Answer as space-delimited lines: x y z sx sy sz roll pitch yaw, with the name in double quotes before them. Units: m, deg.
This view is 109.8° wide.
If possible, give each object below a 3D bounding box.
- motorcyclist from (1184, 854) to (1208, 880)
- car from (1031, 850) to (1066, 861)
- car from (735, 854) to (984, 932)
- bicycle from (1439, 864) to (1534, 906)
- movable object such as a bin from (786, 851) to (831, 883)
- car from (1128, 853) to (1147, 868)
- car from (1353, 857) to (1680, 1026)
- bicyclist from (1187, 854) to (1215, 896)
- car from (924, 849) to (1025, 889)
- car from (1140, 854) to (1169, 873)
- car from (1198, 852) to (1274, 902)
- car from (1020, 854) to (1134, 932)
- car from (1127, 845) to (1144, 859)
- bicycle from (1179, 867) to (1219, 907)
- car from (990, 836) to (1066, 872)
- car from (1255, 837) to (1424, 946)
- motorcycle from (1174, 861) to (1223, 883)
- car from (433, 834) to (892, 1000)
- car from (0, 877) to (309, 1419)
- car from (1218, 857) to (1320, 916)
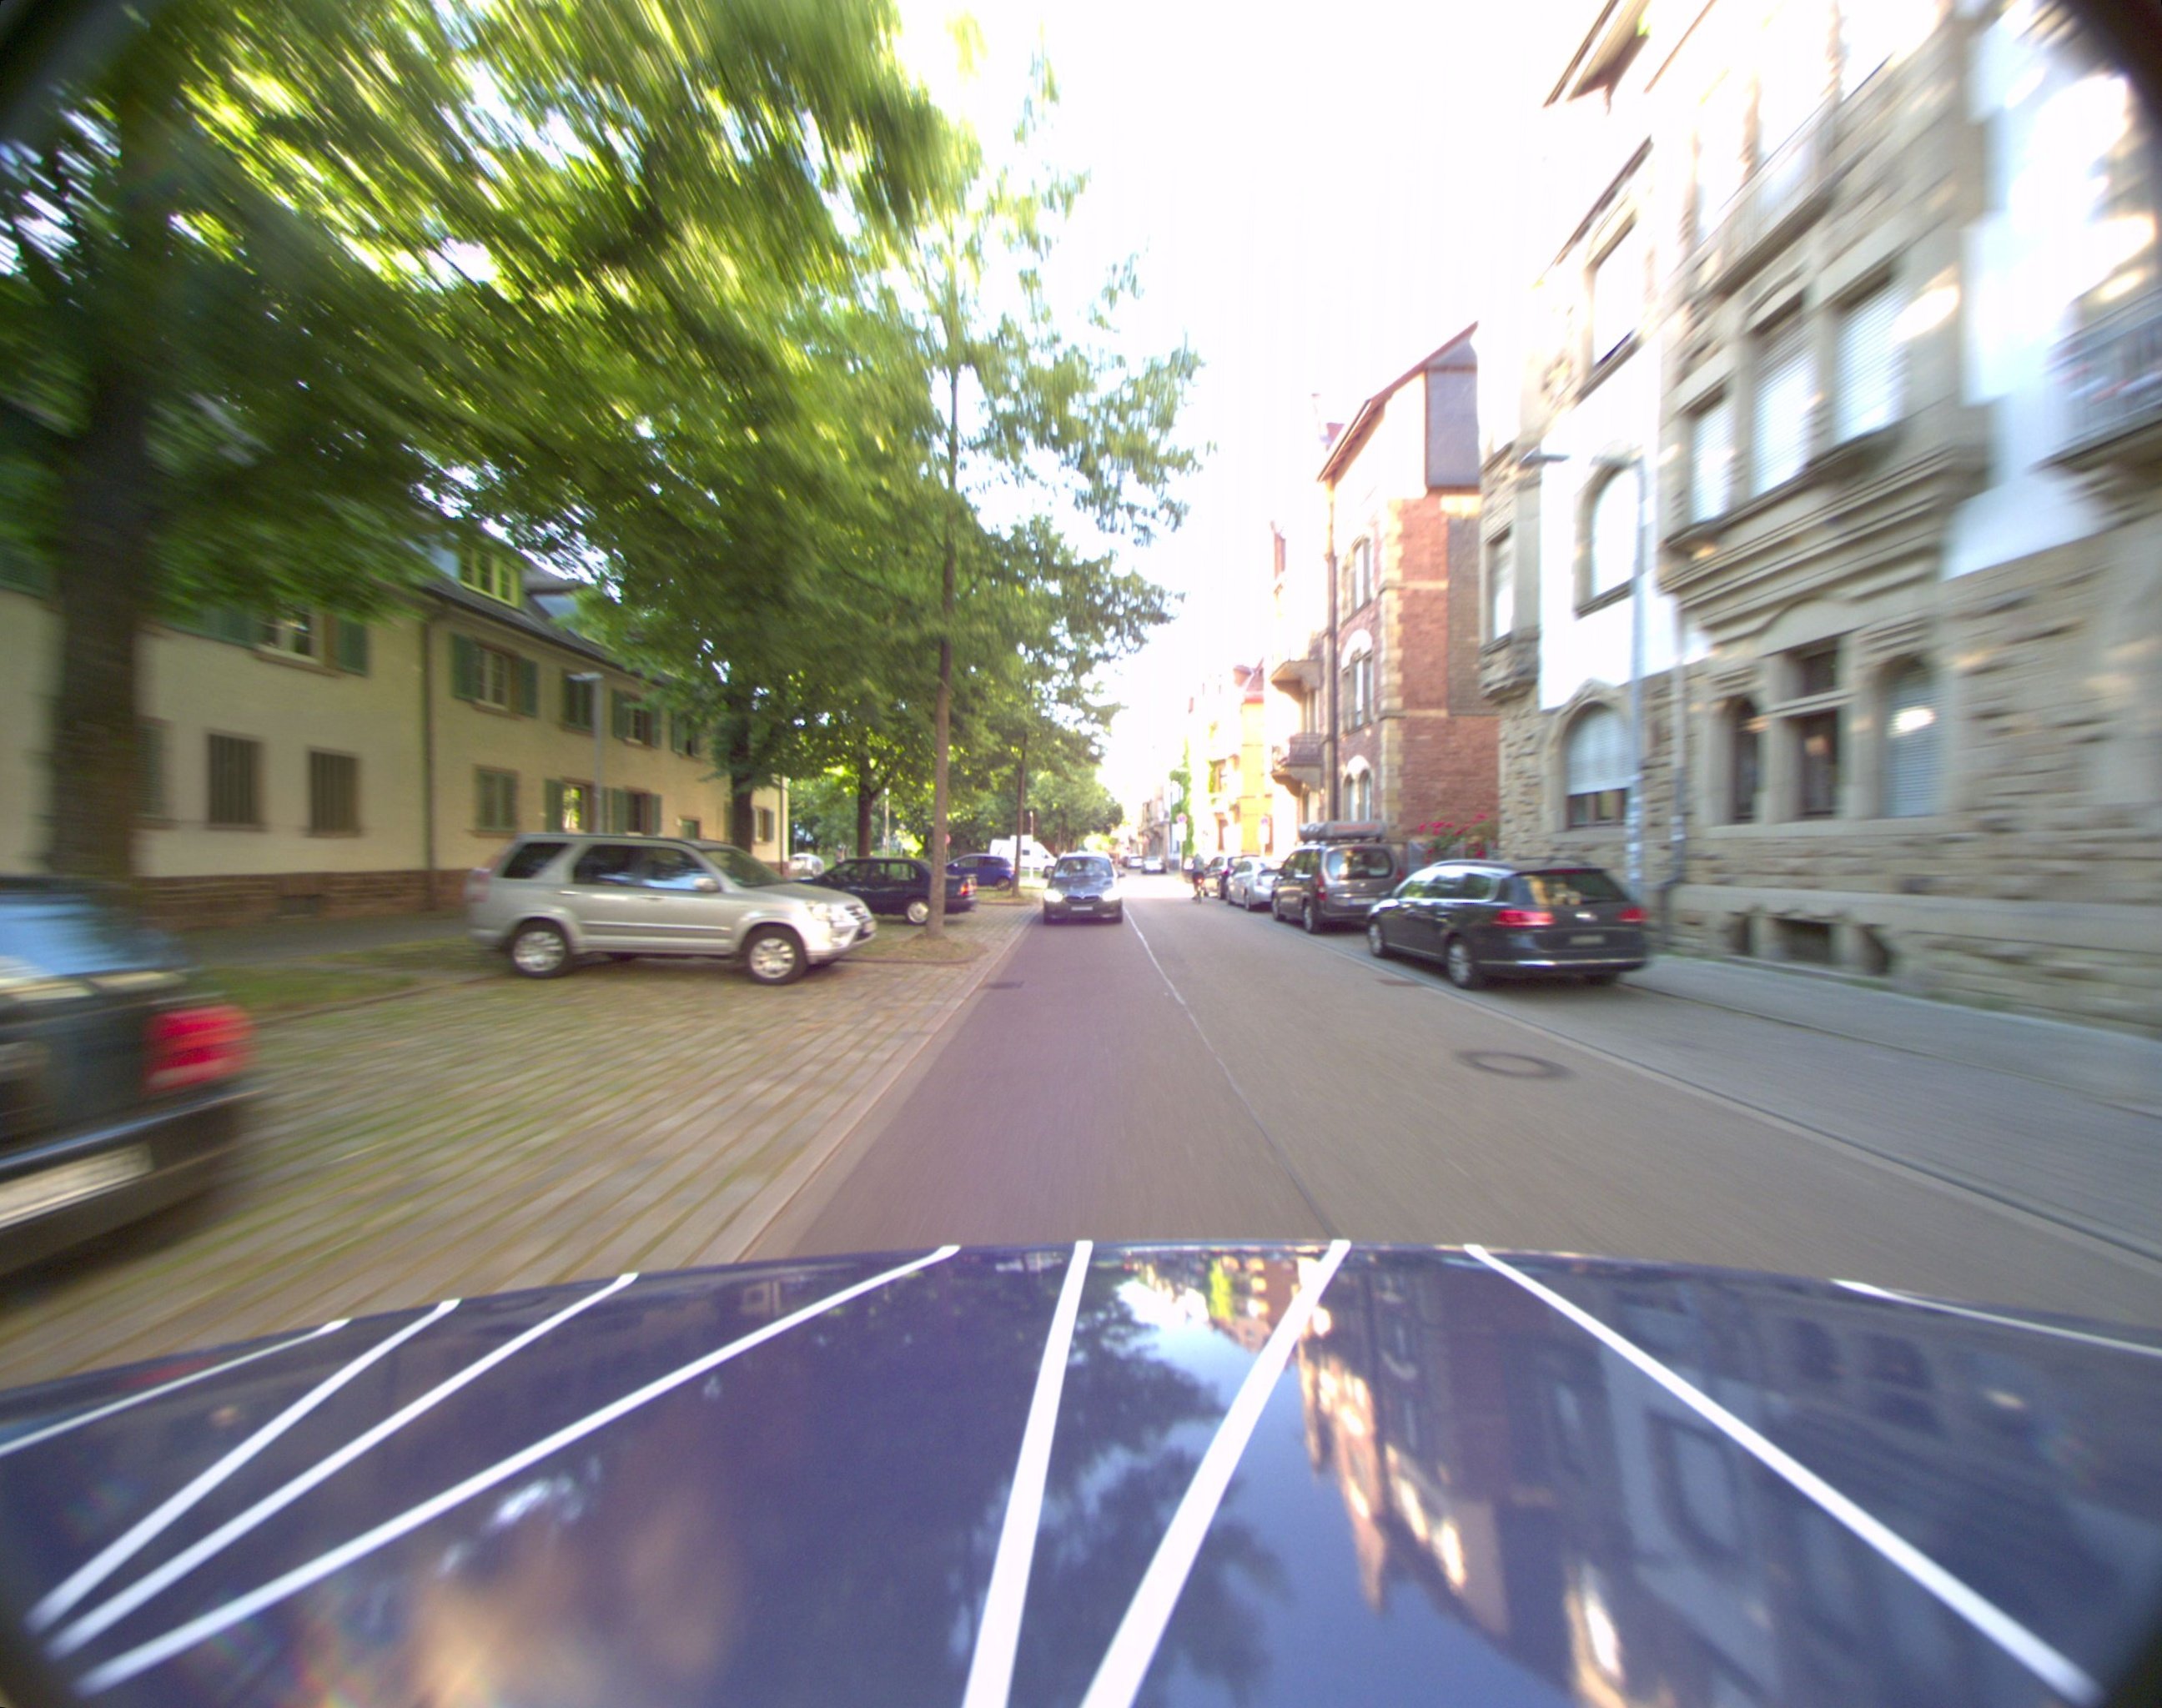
"motorcyclist" 6.037 0.655 39.902 1.226 1.333 0.987 -1 1 7
"car" -3.716 0.149 86.829 3.878 1.249 1.785 0 2 -1
"car" -4.711 0.817 16.744 4.906 1.434 1.941 2 2 -1
"bicycle" 10.980 0.829 20.596 2.358 1.073 0.610 0 1 -7
"movable object such as a bin" -14.576 0.658 40.703 1.638 1.648 1.592 0 2 8
"car" 6.221 0.680 84.013 1.867 1.538 3.792 0 2 0
"car" 5.237 0.903 10.037 1.733 1.565 4.708 0 2 2
"bicyclist" 3.838 0.661 24.402 0.667 1.337 1.060 1 0 -3
"car" -4.450 0.608 32.180 3.997 1.547 1.999 1 2 -1
"car" 5.994 0.786 62.571 1.881 1.397 4.925 -2 0 0
"car" 5.511 0.773 27.513 1.734 1.612 4.258 -2 0 -1
"car" -0.249 0.828 18.653 1.891 1.612 4.613 0 1 -12
"car" 6.619 -0.231 92.651 1.998 1.616 4.143 0 2 2
"bicycle" 3.800 1.029 24.587 0.755 1.171 2.620 1 0 -3
"car" -3.939 -0.012 57.723 5.628 2.599 2.238 0 2 -1
"car" 5.319 0.688 16.329 1.974 1.963 4.497 -2 0 -1
"motorcycle" 6.141 0.940 39.898 2.516 1.095 0.987 -1 1 7
"car" -4.828 0.706 9.328 4.487 1.660 1.942 2 0 -1
"car" -4.792 0.835 2.087 3.510 1.464 1.751 1 2 0
"car" 5.321 0.858 22.130 1.734 1.490 4.454 -2 0 -1
